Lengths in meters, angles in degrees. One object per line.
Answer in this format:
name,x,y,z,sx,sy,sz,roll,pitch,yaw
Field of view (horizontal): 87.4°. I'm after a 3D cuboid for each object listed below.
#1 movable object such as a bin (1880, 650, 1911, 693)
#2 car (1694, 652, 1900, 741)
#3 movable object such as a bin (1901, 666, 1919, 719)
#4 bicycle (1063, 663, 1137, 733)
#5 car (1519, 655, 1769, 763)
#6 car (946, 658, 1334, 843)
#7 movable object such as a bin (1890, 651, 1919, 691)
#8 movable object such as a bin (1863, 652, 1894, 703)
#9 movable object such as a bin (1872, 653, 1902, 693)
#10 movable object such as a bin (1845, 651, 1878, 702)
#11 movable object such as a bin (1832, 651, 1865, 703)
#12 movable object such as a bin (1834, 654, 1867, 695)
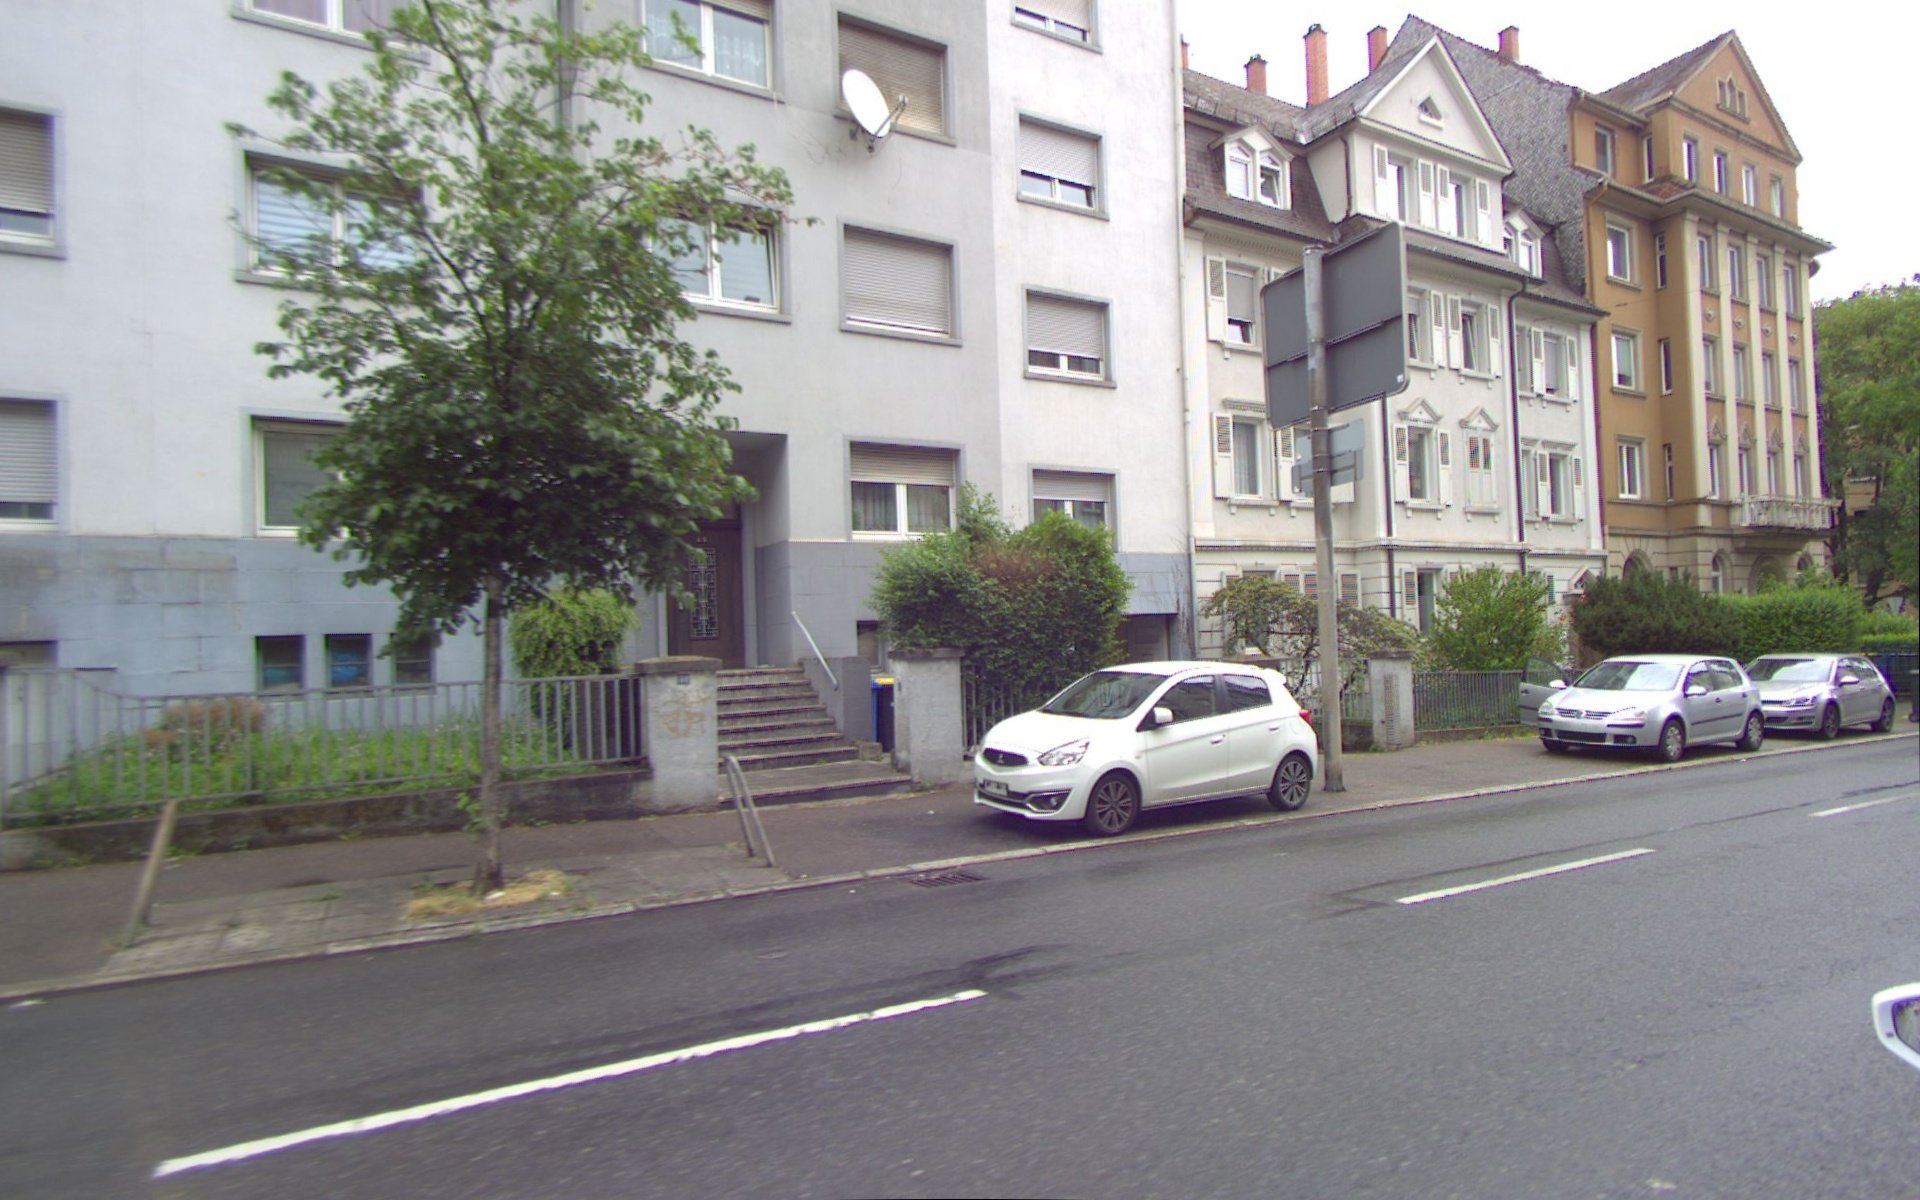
movable object such as a bin,25.742,1.955,27.643,0.650,1.145,0.437,1,-3,-31
car,15.295,1.684,18.324,3.889,1.408,1.675,1,-2,-30
movable object such as a bin,19.951,1.906,20.710,0.593,1.072,0.627,2,-3,-30
bicycle,2.357,1.629,17.020,0.478,1.104,1.414,1,-3,-30
car,10.487,1.568,15.358,3.863,1.408,1.675,1,-2,-30
car,1.877,1.368,10.135,3.755,1.527,1.637,2,-3,-32
movable object such as a bin,26.318,1.982,27.990,0.583,1.095,0.437,1,-3,-31
movable object such as a bin,24.558,2.061,26.856,0.602,1.326,0.437,1,-3,-31
movable object such as a bin,25.157,1.965,27.259,0.643,1.054,0.424,1,-3,-31
movable object such as a bin,23.757,1.999,26.470,0.642,1.326,0.437,1,-3,-31
movable object such as a bin,22.913,1.972,25.913,0.642,1.316,0.437,1,-3,-31
movable object such as a bin,23.105,1.931,26.066,0.642,1.053,0.437,1,-3,-31
